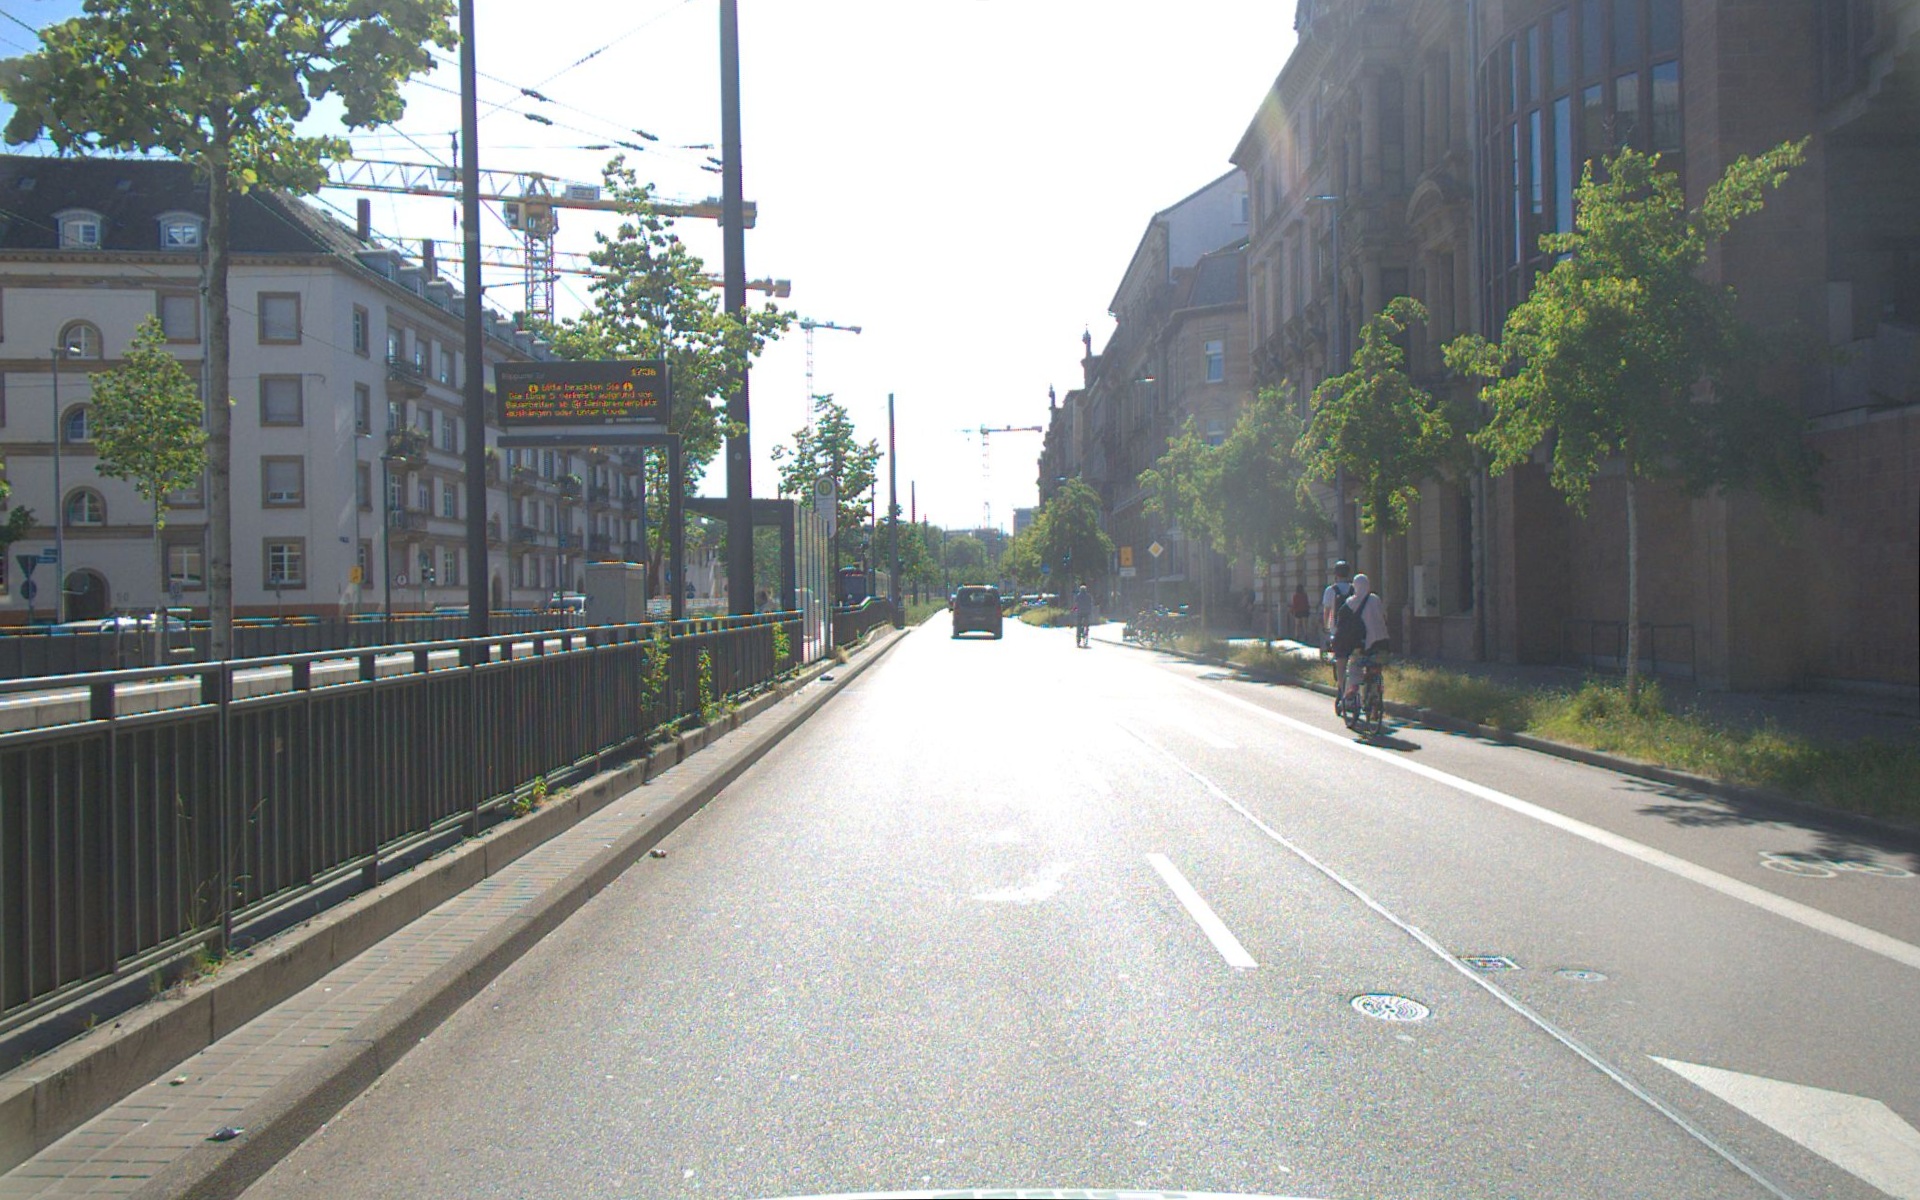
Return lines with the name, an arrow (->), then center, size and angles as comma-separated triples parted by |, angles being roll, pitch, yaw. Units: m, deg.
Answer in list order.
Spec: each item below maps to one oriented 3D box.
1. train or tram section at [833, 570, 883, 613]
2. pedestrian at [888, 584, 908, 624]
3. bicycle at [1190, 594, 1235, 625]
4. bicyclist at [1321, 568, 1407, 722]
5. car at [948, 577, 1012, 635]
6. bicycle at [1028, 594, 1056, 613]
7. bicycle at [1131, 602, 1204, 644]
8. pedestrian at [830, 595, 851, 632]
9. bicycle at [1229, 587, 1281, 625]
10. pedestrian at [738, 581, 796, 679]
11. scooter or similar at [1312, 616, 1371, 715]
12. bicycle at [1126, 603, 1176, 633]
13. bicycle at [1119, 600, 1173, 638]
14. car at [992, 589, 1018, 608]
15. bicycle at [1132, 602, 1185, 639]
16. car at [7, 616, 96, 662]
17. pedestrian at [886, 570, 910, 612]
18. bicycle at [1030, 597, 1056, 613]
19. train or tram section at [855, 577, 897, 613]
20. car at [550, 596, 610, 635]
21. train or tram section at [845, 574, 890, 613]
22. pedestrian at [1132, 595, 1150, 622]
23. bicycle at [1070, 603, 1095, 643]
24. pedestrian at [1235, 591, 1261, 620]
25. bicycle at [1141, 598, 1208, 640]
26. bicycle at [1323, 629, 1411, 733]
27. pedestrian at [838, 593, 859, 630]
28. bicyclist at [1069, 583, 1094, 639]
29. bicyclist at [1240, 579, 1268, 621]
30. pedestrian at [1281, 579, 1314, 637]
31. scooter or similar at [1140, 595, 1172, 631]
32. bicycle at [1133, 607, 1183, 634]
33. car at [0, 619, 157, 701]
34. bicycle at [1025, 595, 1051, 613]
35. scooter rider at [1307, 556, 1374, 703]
train or tram section -> -6.876, -0.512, 112.775 | 2.699, 2.791, 9.863 | 0, -1, 0
pedestrian -> -2.817, 0.187, 74.849 | 0.848, 1.819, 0.969 | 0, 0, -7
bicycle -> 10.449, 0.385, 68.516 | 1.779, 1.191, 0.654 | -1, 3, 3
bicyclist -> 4.695, 0.507, 19.264 | 0.763, 1.741, 0.868 | 1, 0, -1
car -> 0.680, 0.210, 59.901 | 2.155, 1.960, 4.653 | -2, 0, 0
bicycle -> 5.448, 0.230, 110.289 | 1.756, 1.048, 0.527 | -6, 0, -1
bicycle -> 6.261, 0.682, 49.881 | 1.959, 1.111, 0.845 | -4, 0, -10
pedestrian -> -5.141, 0.566, 71.154 | 0.847, 1.563, 0.909 | 0, 0, 0
bicycle -> 11.760, 0.243, 65.992 | 1.860, 1.353, 0.616 | -5, 0, 33
pedestrian -> -3.146, 0.480, 26.991 | 0.796, 1.563, 0.798 | -1, 0, 1
scooter or similar -> 5.031, 0.847, 21.862 | 0.480, 1.248, 1.170 | 1, 0, -1
bicycle -> 6.501, 0.619, 56.266 | 1.635, 0.960, 0.607 | -2, 0, 7
bicycle -> 6.080, 0.625, 54.118 | 1.688, 1.119, 0.607 | -4, 0, 3
car -> 3.708, -0.134, 138.225 | 1.986, 1.525, 4.653 | -2, 0, 0
bicycle -> 6.305, 0.639, 52.565 | 1.566, 1.063, 0.607 | -4, 0, 3
car -> -33.001, 1.402, 60.167 | 1.655, 1.548, 3.666 | -1, 0, -9
pedestrian -> -2.899, -0.427, 77.160 | 1.055, 1.942, 0.652 | -1, 0, -7
bicycle -> 5.719, 0.332, 113.695 | 1.756, 1.048, 0.527 | -1, 0, -1
train or tram section -> -6.663, -0.330, 132.466 | 2.699, 2.791, 9.863 | 0, -1, 0
car -> -17.979, 0.729, 78.403 | 1.782, 1.826, 4.090 | 0, -1, 2
train or tram section -> -6.771, -0.421, 122.622 | 2.699, 2.791, 9.863 | 0, -1, 0
pedestrian -> 8.458, 0.400, 77.394 | 0.691, 1.198, 0.635 | -3, 0, -1
bicycle -> 3.764, 0.694, 51.006 | 0.589, 1.201, 1.869 | 1, 0, -1
pedestrian -> 12.170, 0.238, 69.928 | 0.833, 1.235, 0.932 | 0, 0, -7
bicycle -> 6.639, 0.582, 51.256 | 1.954, 1.148, 0.710 | -4, 0, 1
bicycle -> 4.731, 0.918, 19.323 | 0.546, 1.111, 1.792 | 1, 0, -1
pedestrian -> -4.694, 0.482, 69.798 | 0.796, 1.563, 0.798 | 0, 0, 1
bicyclist -> 3.776, 0.345, 51.327 | 0.670, 1.702, 0.922 | 1, 0, -1
bicyclist -> 11.714, -0.001, 65.953 | 0.784, 1.556, 0.661 | -5, 0, 32
pedestrian -> 9.441, 0.222, 46.242 | 0.695, 1.569, 0.927 | -1, 0, -1
scooter or similar -> 6.833, 0.468, 57.678 | 1.087, 1.210, 0.419 | -2, 0, 7
bicycle -> 6.640, 0.681, 55.601 | 1.635, 0.835, 0.607 | -2, 0, 6
car -> -19.783, 1.289, 36.722 | 1.953, 1.713, 3.999 | 0, -1, 0
bicycle -> 5.418, 0.268, 114.994 | 1.756, 1.048, 0.527 | -6, 0, -1
scooter rider -> 5.026, 0.380, 21.893 | 0.653, 1.893, 0.901 | 1, 0, -1
